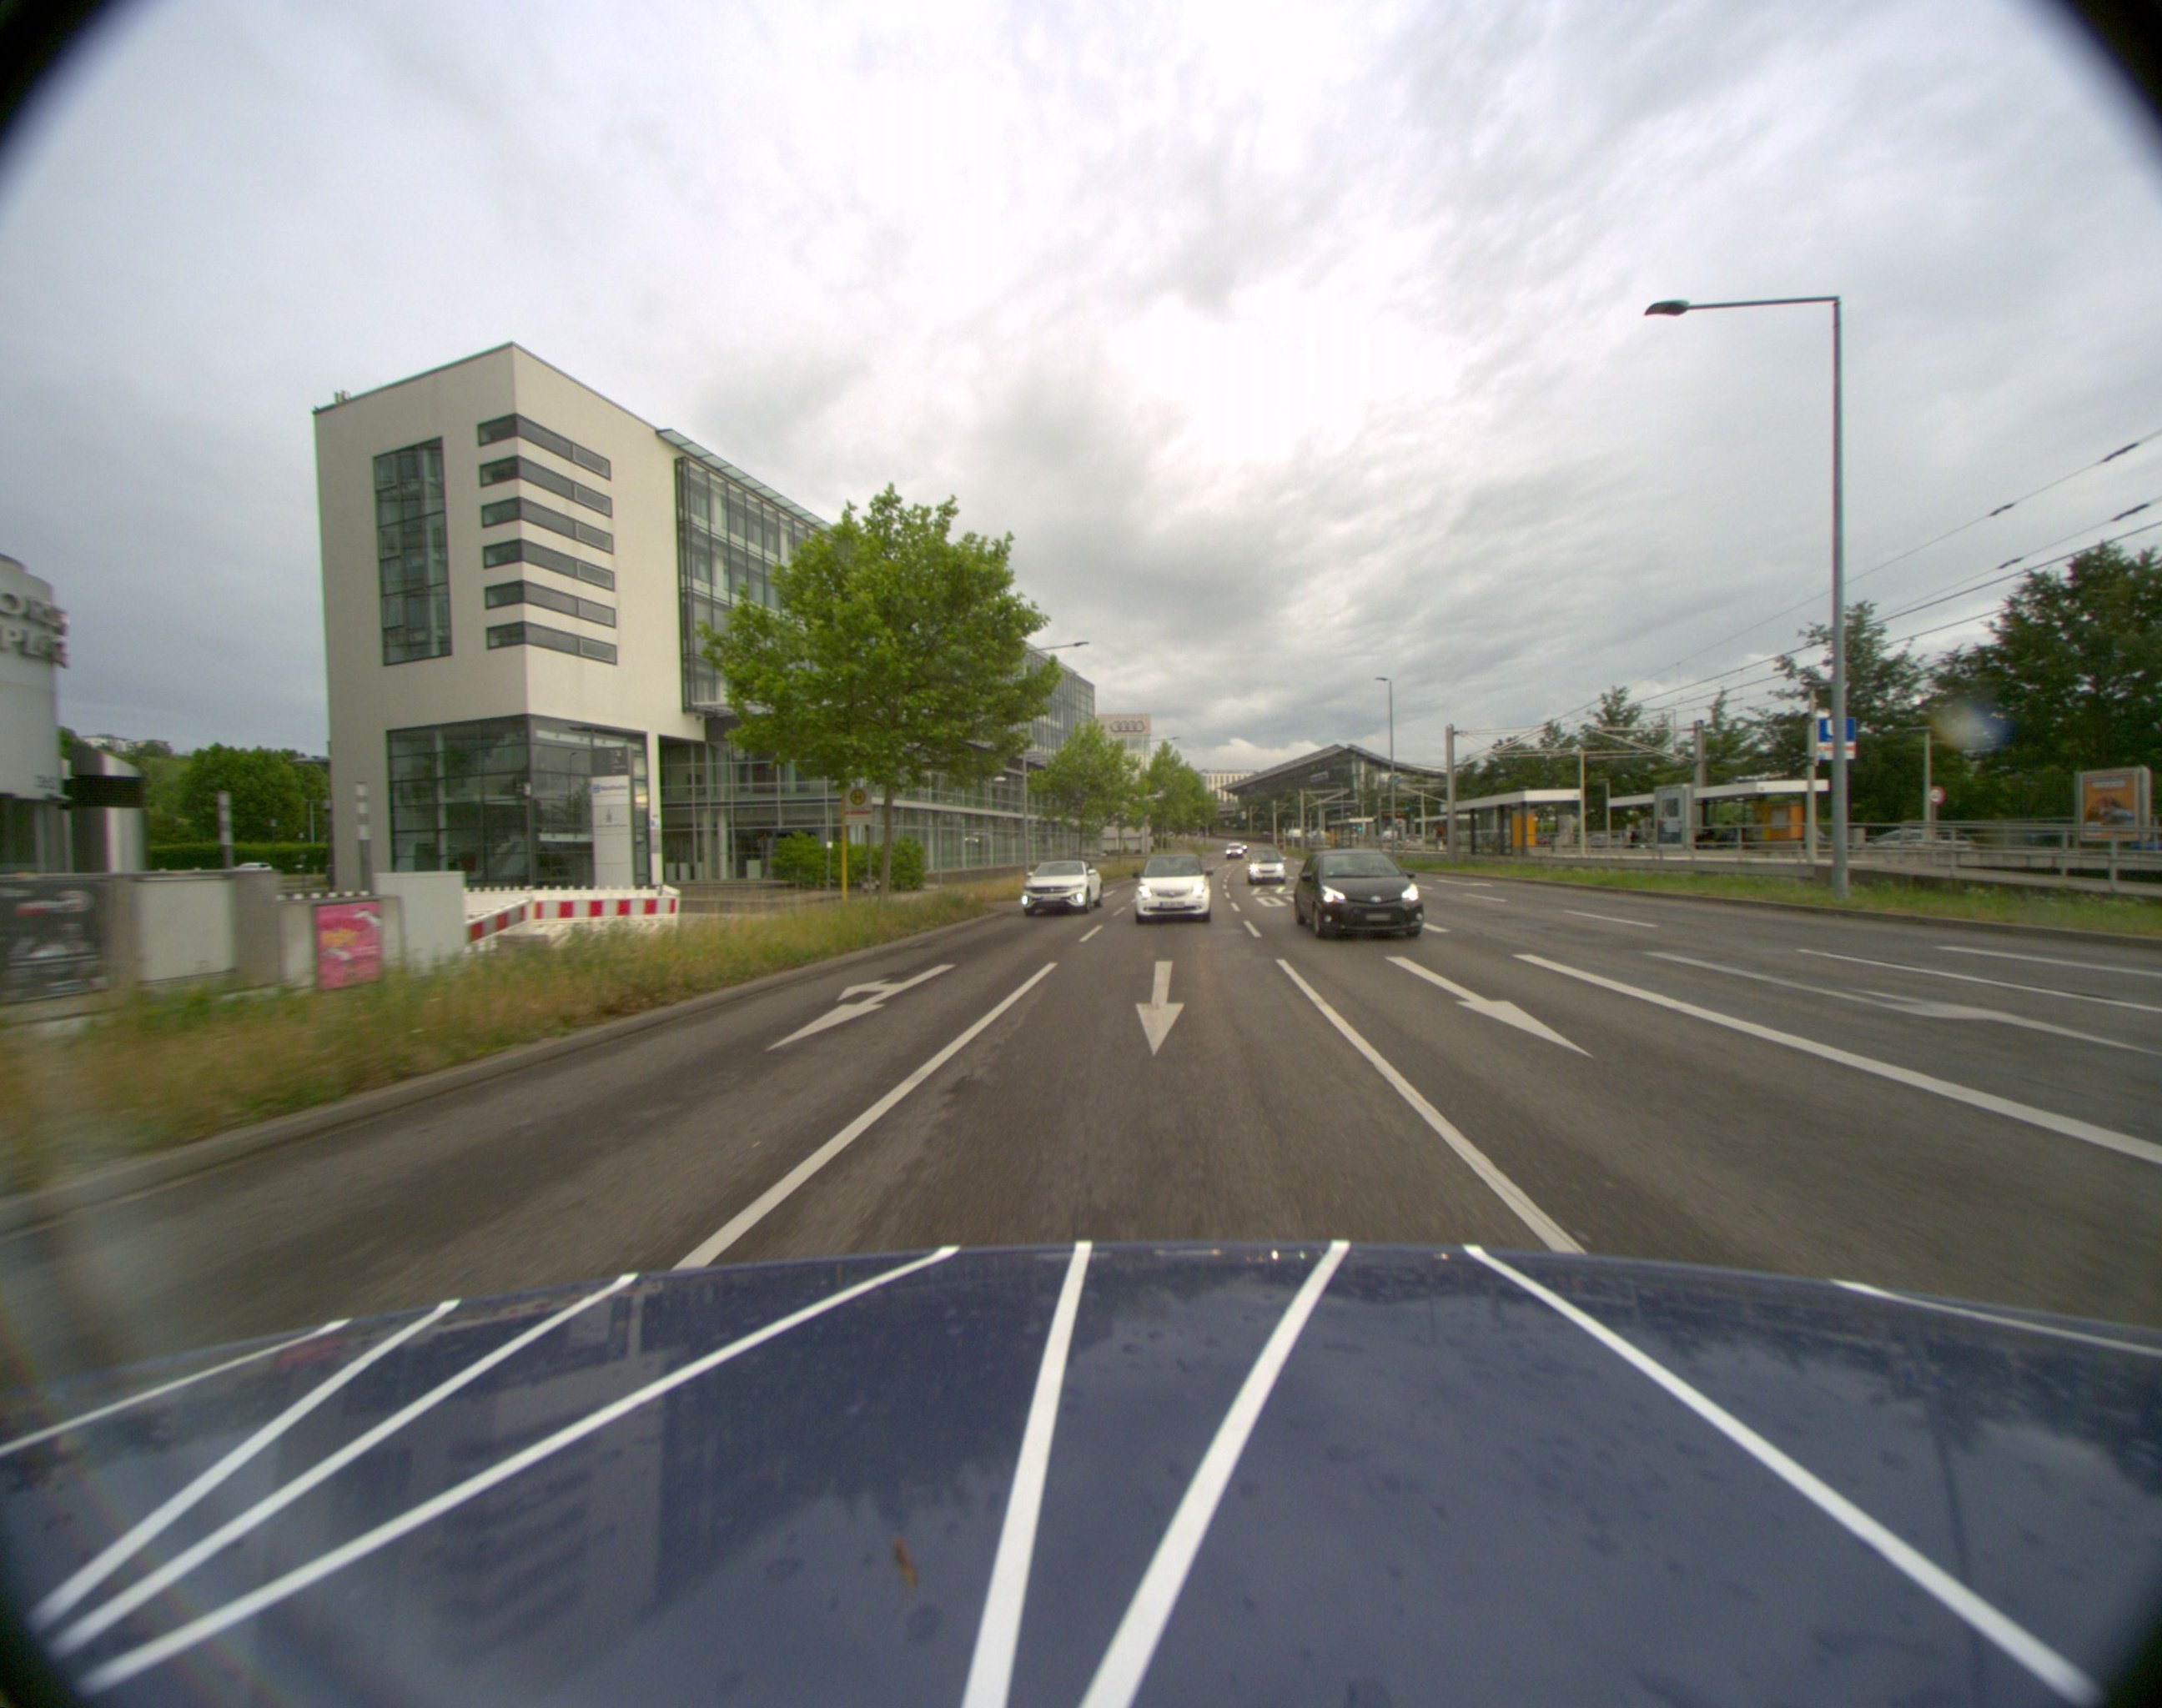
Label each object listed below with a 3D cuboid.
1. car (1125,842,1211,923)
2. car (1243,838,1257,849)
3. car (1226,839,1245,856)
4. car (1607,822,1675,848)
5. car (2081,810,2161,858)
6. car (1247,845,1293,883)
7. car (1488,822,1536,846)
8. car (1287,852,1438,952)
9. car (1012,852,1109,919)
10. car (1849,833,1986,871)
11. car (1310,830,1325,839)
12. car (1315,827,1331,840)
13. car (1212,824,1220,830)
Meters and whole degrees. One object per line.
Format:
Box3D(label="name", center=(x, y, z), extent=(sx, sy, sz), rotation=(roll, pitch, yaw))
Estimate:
Box3D(label="car", center=(2.204, 0.630, 18.425), extent=(1.804, 1.713, 4.003), rotation=(-2, 0, 9))
Box3D(label="car", center=(24.347, -1.532, 109.204), extent=(1.699, 1.514, 3.828), rotation=(-2, 2, 16))
Box3D(label="car", center=(17.948, -0.762, 88.056), extent=(1.827, 1.701, 4.157), rotation=(-3, 1, 15))
Box3D(label="car", center=(35.903, -1.216, 48.838), extent=(1.790, 1.494, 4.001), rotation=(-4, 1, 7))
Box3D(label="car", center=(38.554, -0.712, 26.735), extent=(1.575, 1.617, 4.084), rotation=(-4, 1, 7))
Box3D(label="car", center=(8.311, 0.385, 33.715), extent=(1.738, 1.469, 4.003), rotation=(-3, 1, 11))
Box3D(label="car", center=(33.062, -1.547, 58.369), extent=(1.531, 1.657, 4.270), rotation=(-4, 1, 5))
Box3D(label="car", center=(4.921, 0.763, 13.845), extent=(1.696, 1.514, 3.907), rotation=(-3, 0, 7))
Box3D(label="car", center=(-0.492, 0.841, 21.990), extent=(1.997, 1.668, 3.825), rotation=(-4, 0, 9))
Box3D(label="car", center=(36.659, -0.129, 33.485), extent=(1.742, 1.454, 4.154), rotation=(-4, 1, 7))
Box3D(label="car", center=(48.204, -3.992, 154.752), extent=(1.997, 1.721, 5.032), rotation=(-4, 1, 7))
Box3D(label="car", center=(45.386, -3.846, 142.630), extent=(1.997, 2.202, 5.146), rotation=(-4, 1, 8))
Box3D(label="car", center=(41.948, -8.323, 235.430), extent=(1.998, 1.837, 4.001), rotation=(-4, 1, 6))
